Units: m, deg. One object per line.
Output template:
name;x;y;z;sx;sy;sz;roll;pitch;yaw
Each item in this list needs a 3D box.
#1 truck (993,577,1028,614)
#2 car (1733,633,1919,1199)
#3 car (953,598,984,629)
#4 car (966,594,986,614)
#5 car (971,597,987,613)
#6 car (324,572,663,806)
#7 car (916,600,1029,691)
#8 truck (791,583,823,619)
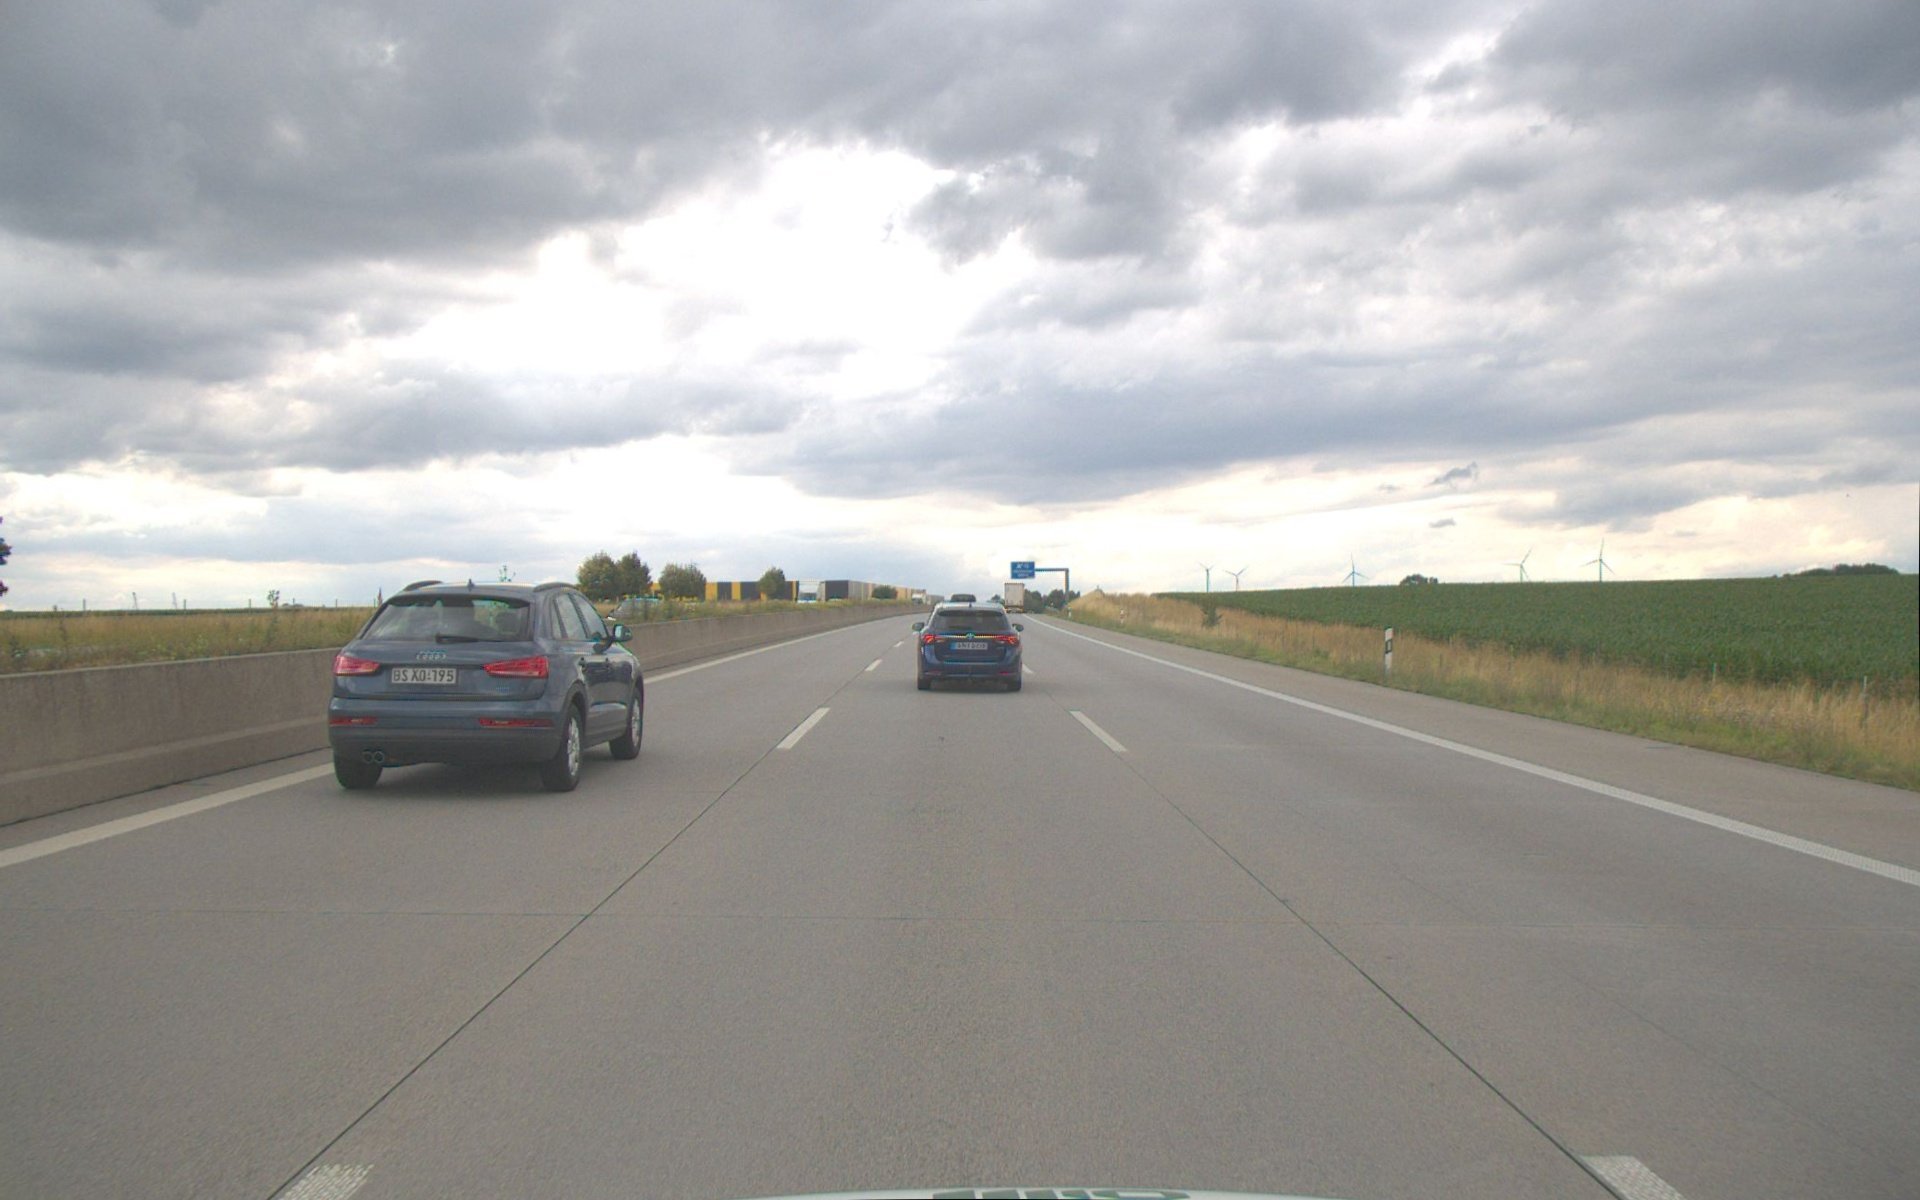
truck;6.964;-0.585;228.969;3.871;4.839;12.069;1;-1;-2
car;3.149;0.807;2.681;1.752;1.428;4.220;1;0;-1
car;0.573;0.959;114.506;1.953;2.049;3.999;1;-1;-1
car;1.685;0.433;178.551;1.953;2.049;3.999;2;0;-1
car;2.599;0.667;227.510;1.953;2.049;3.998;1;-1;-2
car;-3.743;0.628;14.223;1.757;1.624;5.153;1;0;-4
car;0.156;0.742;28.585;1.739;1.438;3.998;1;0;-3
truck;-15.116;0.153;163.838;2.309;3.386;7.297;1;-1;2
